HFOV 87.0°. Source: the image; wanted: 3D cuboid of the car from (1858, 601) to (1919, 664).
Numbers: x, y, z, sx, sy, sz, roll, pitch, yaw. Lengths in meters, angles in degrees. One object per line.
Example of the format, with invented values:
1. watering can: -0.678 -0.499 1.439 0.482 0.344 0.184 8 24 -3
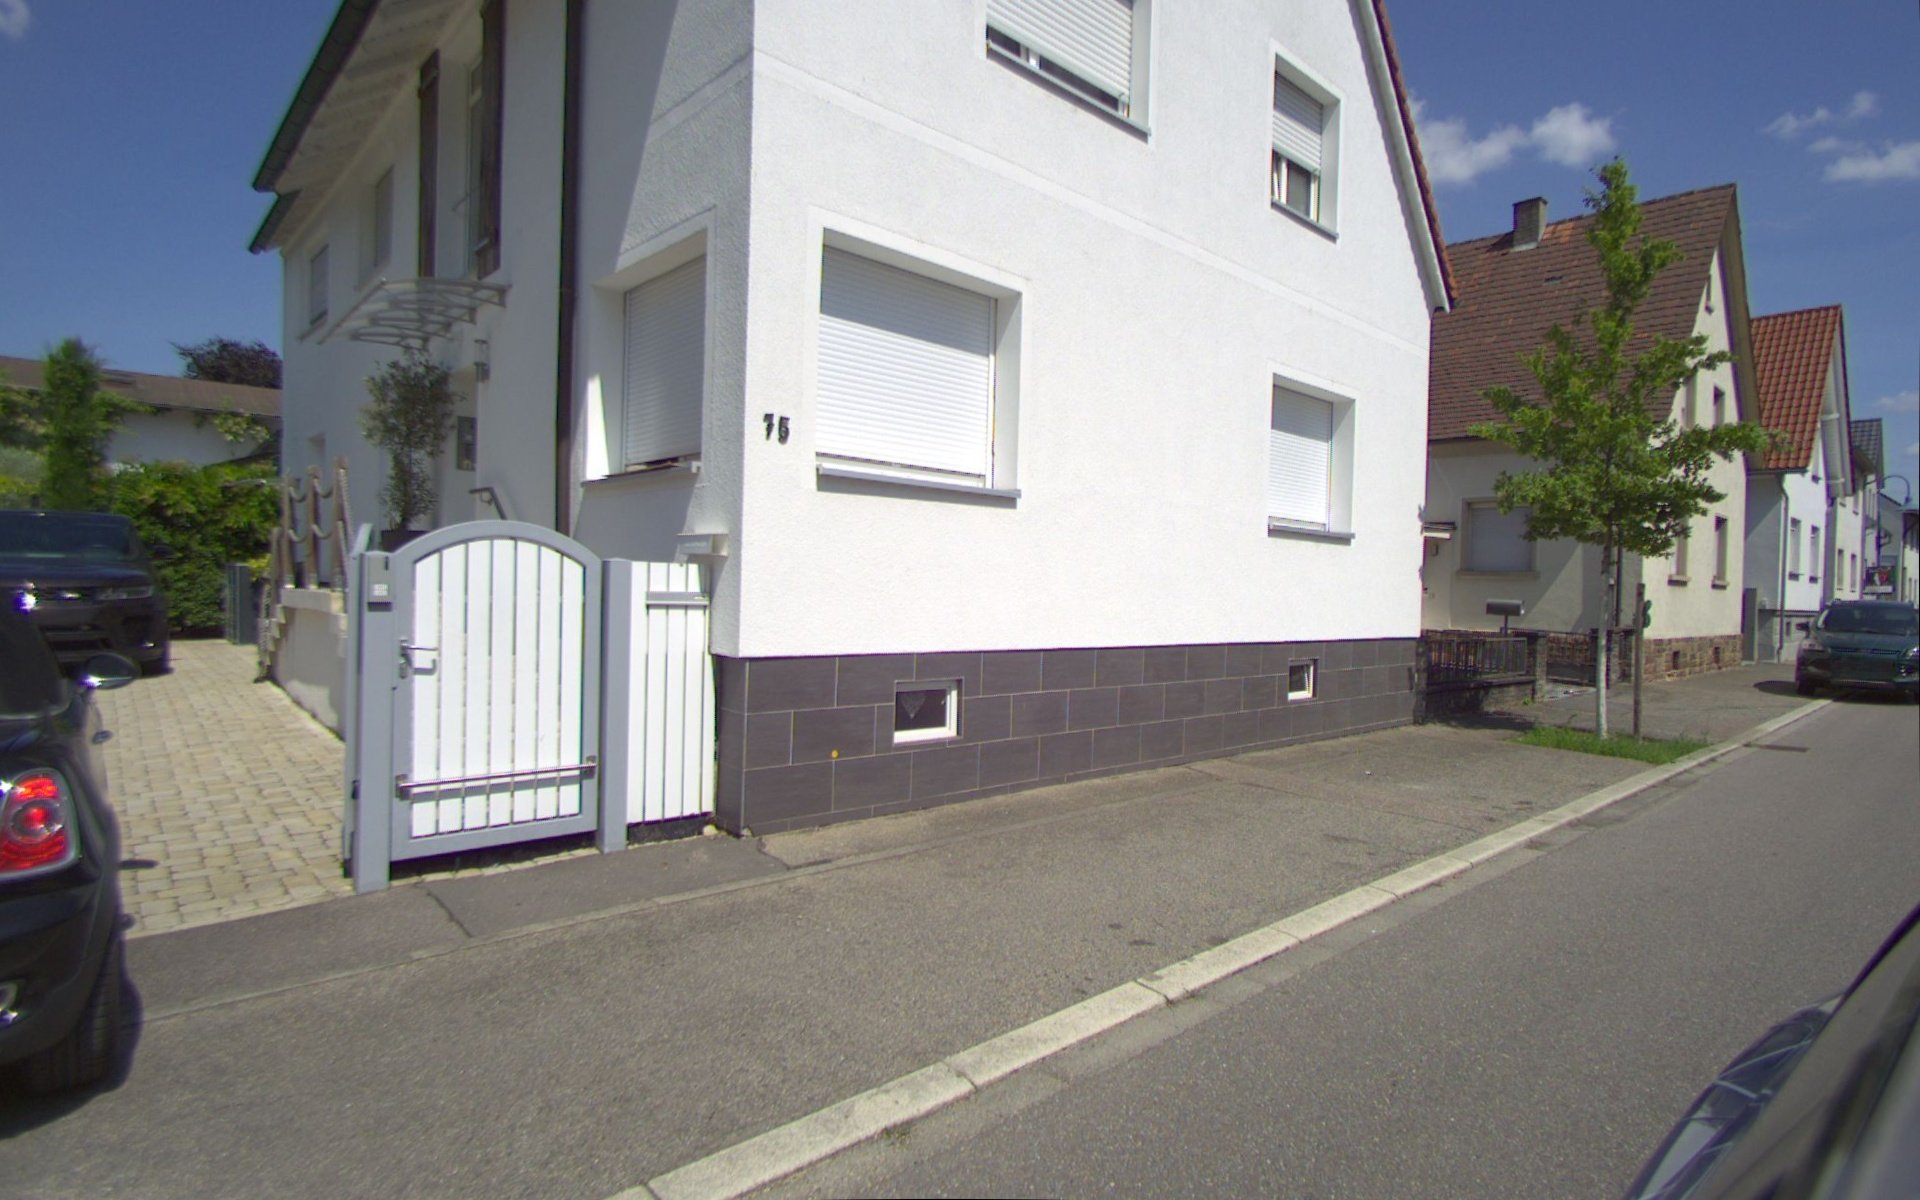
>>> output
1. car: 25.420 0.839 27.118 3.905 1.514 1.619 1 3 -43

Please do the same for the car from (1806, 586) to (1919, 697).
1. car: 16.285 0.665 17.861 1.729 1.738 4.206 2 1 45

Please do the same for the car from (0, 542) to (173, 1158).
1. car: -3.926 0.520 3.451 1.710 1.432 3.929 1 1 -42

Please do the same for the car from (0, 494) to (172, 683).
1. car: -9.818 -0.160 10.898 1.852 1.725 3.929 1 1 -42
